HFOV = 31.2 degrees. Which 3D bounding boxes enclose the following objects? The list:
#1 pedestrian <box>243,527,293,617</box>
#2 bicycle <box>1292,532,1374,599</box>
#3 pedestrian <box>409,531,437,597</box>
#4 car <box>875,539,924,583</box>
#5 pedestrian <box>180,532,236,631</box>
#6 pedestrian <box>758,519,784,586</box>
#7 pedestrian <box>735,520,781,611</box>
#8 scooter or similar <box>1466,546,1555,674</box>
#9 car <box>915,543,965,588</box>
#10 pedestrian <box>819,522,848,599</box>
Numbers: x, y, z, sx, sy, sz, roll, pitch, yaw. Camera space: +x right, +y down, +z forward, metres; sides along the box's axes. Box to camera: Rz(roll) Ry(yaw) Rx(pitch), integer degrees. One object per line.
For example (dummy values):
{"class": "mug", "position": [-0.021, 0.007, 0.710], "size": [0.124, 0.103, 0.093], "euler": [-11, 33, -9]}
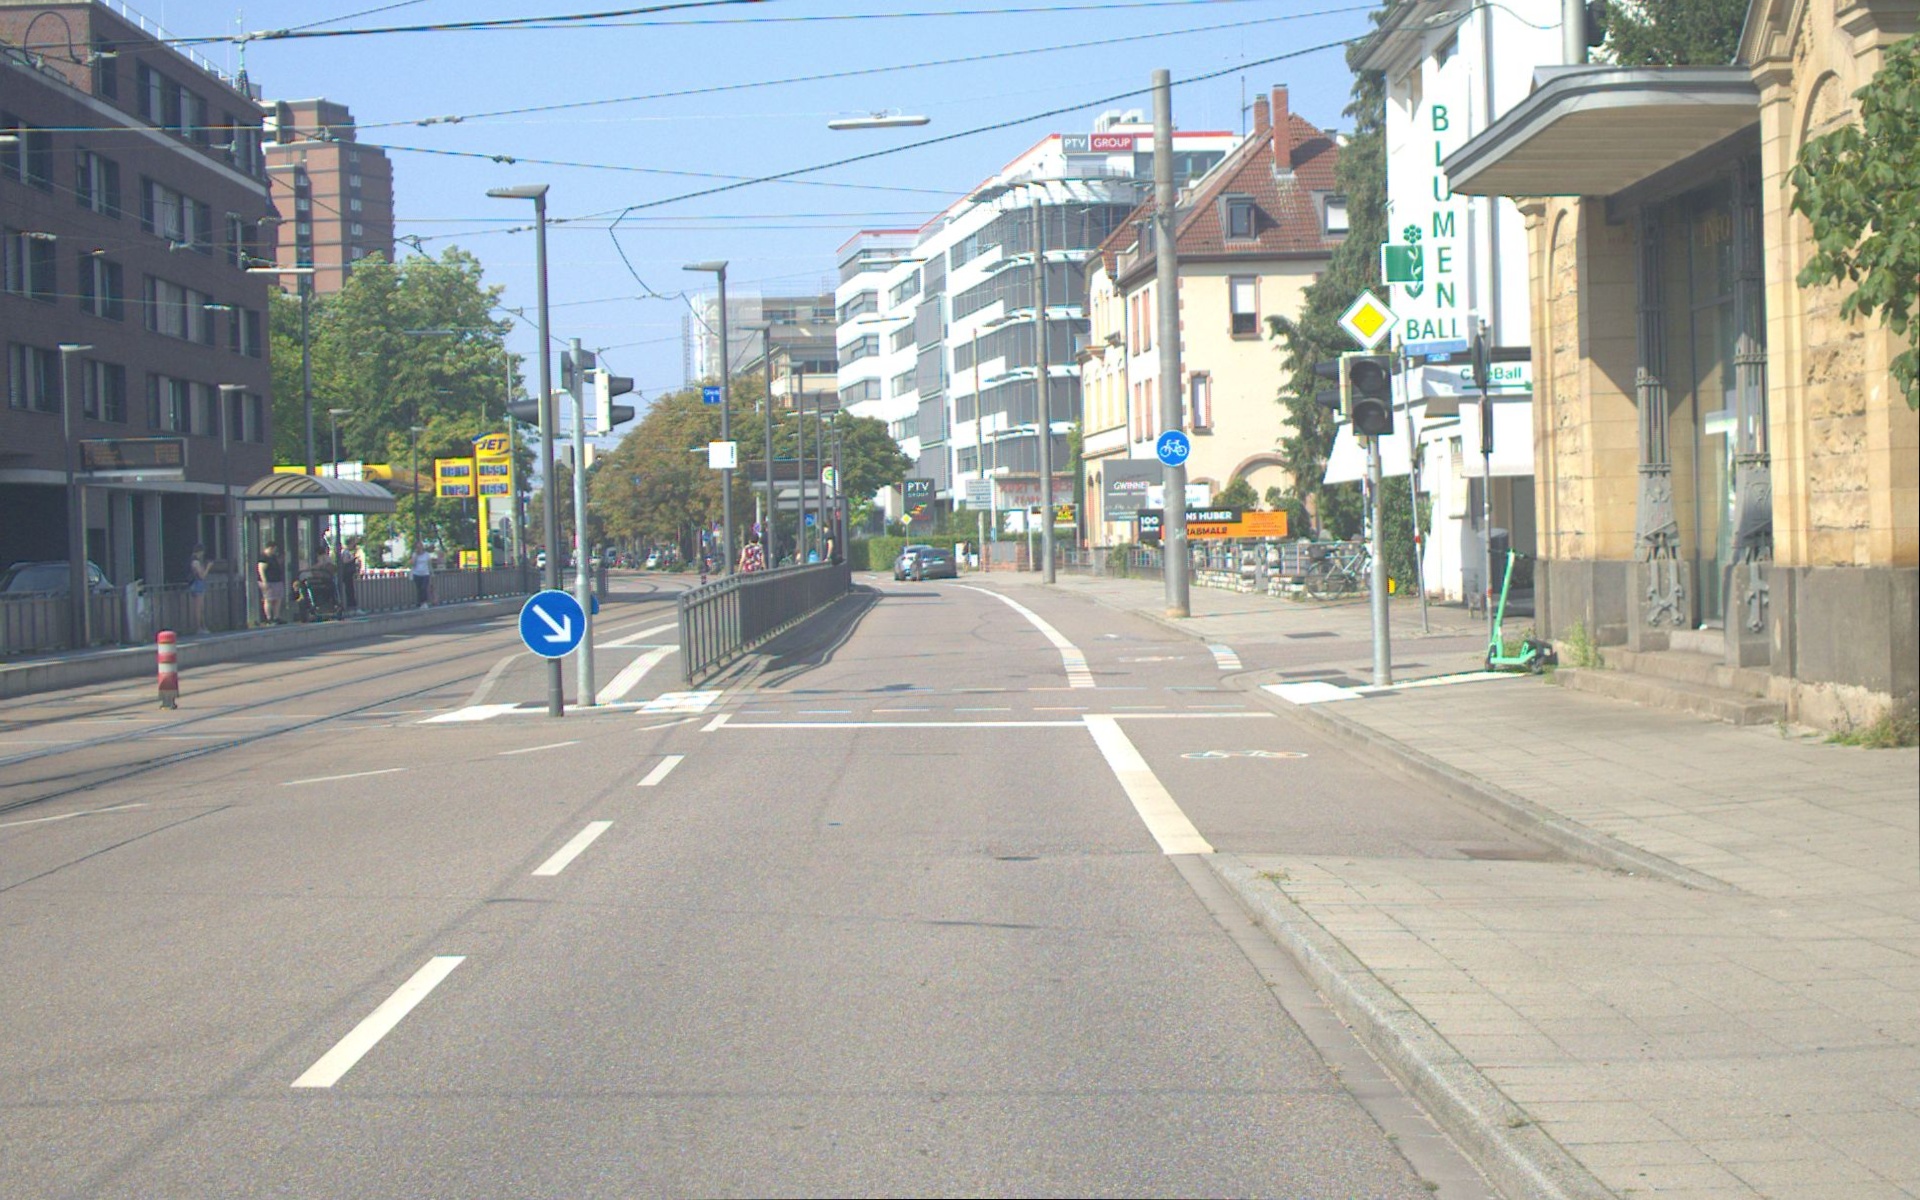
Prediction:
{"class": "pedestrian", "position": [-13.762, -0.562, 68.401], "size": [0.708, 1.741, 0.799], "euler": [-4, 1, 0]}
{"class": "bicycle", "position": [6.782, -0.627, 62.630], "size": [0.731, 1.129, 2.840], "euler": [-5, 1, -7]}
{"class": "pedestrian", "position": [-12.811, -0.857, 82.068], "size": [0.532, 1.525, 0.702], "euler": [-4, 1, -6]}
{"class": "car", "position": [-2.783, -1.811, 159.162], "size": [2.011, 1.852, 4.000], "euler": [-4, 1, 1]}
{"class": "pedestrian", "position": [-13.504, -0.336, 61.737], "size": [0.708, 1.717, 0.799], "euler": [-4, 1, 0]}
{"class": "pedestrian", "position": [-4.854, -1.213, 88.284], "size": [0.536, 1.697, 0.582], "euler": [-4, 1, -3]}
{"class": "pedestrian", "position": [-3.888, -0.675, 66.155], "size": [0.720, 1.697, 0.884], "euler": [-4, 1, 1]}
{"class": "scooter or similar", "position": [5.075, 0.080, 31.741], "size": [0.523, 1.129, 1.511], "euler": [-4, 1, 0]}
{"class": "car", "position": [-0.861, -1.558, 152.946], "size": [2.011, 1.852, 4.000], "euler": [-4, 1, 1]}
{"class": "pedestrian", "position": [-2.854, -0.900, 77.466], "size": [0.536, 1.697, 0.582], "euler": [-4, 1, -3]}
